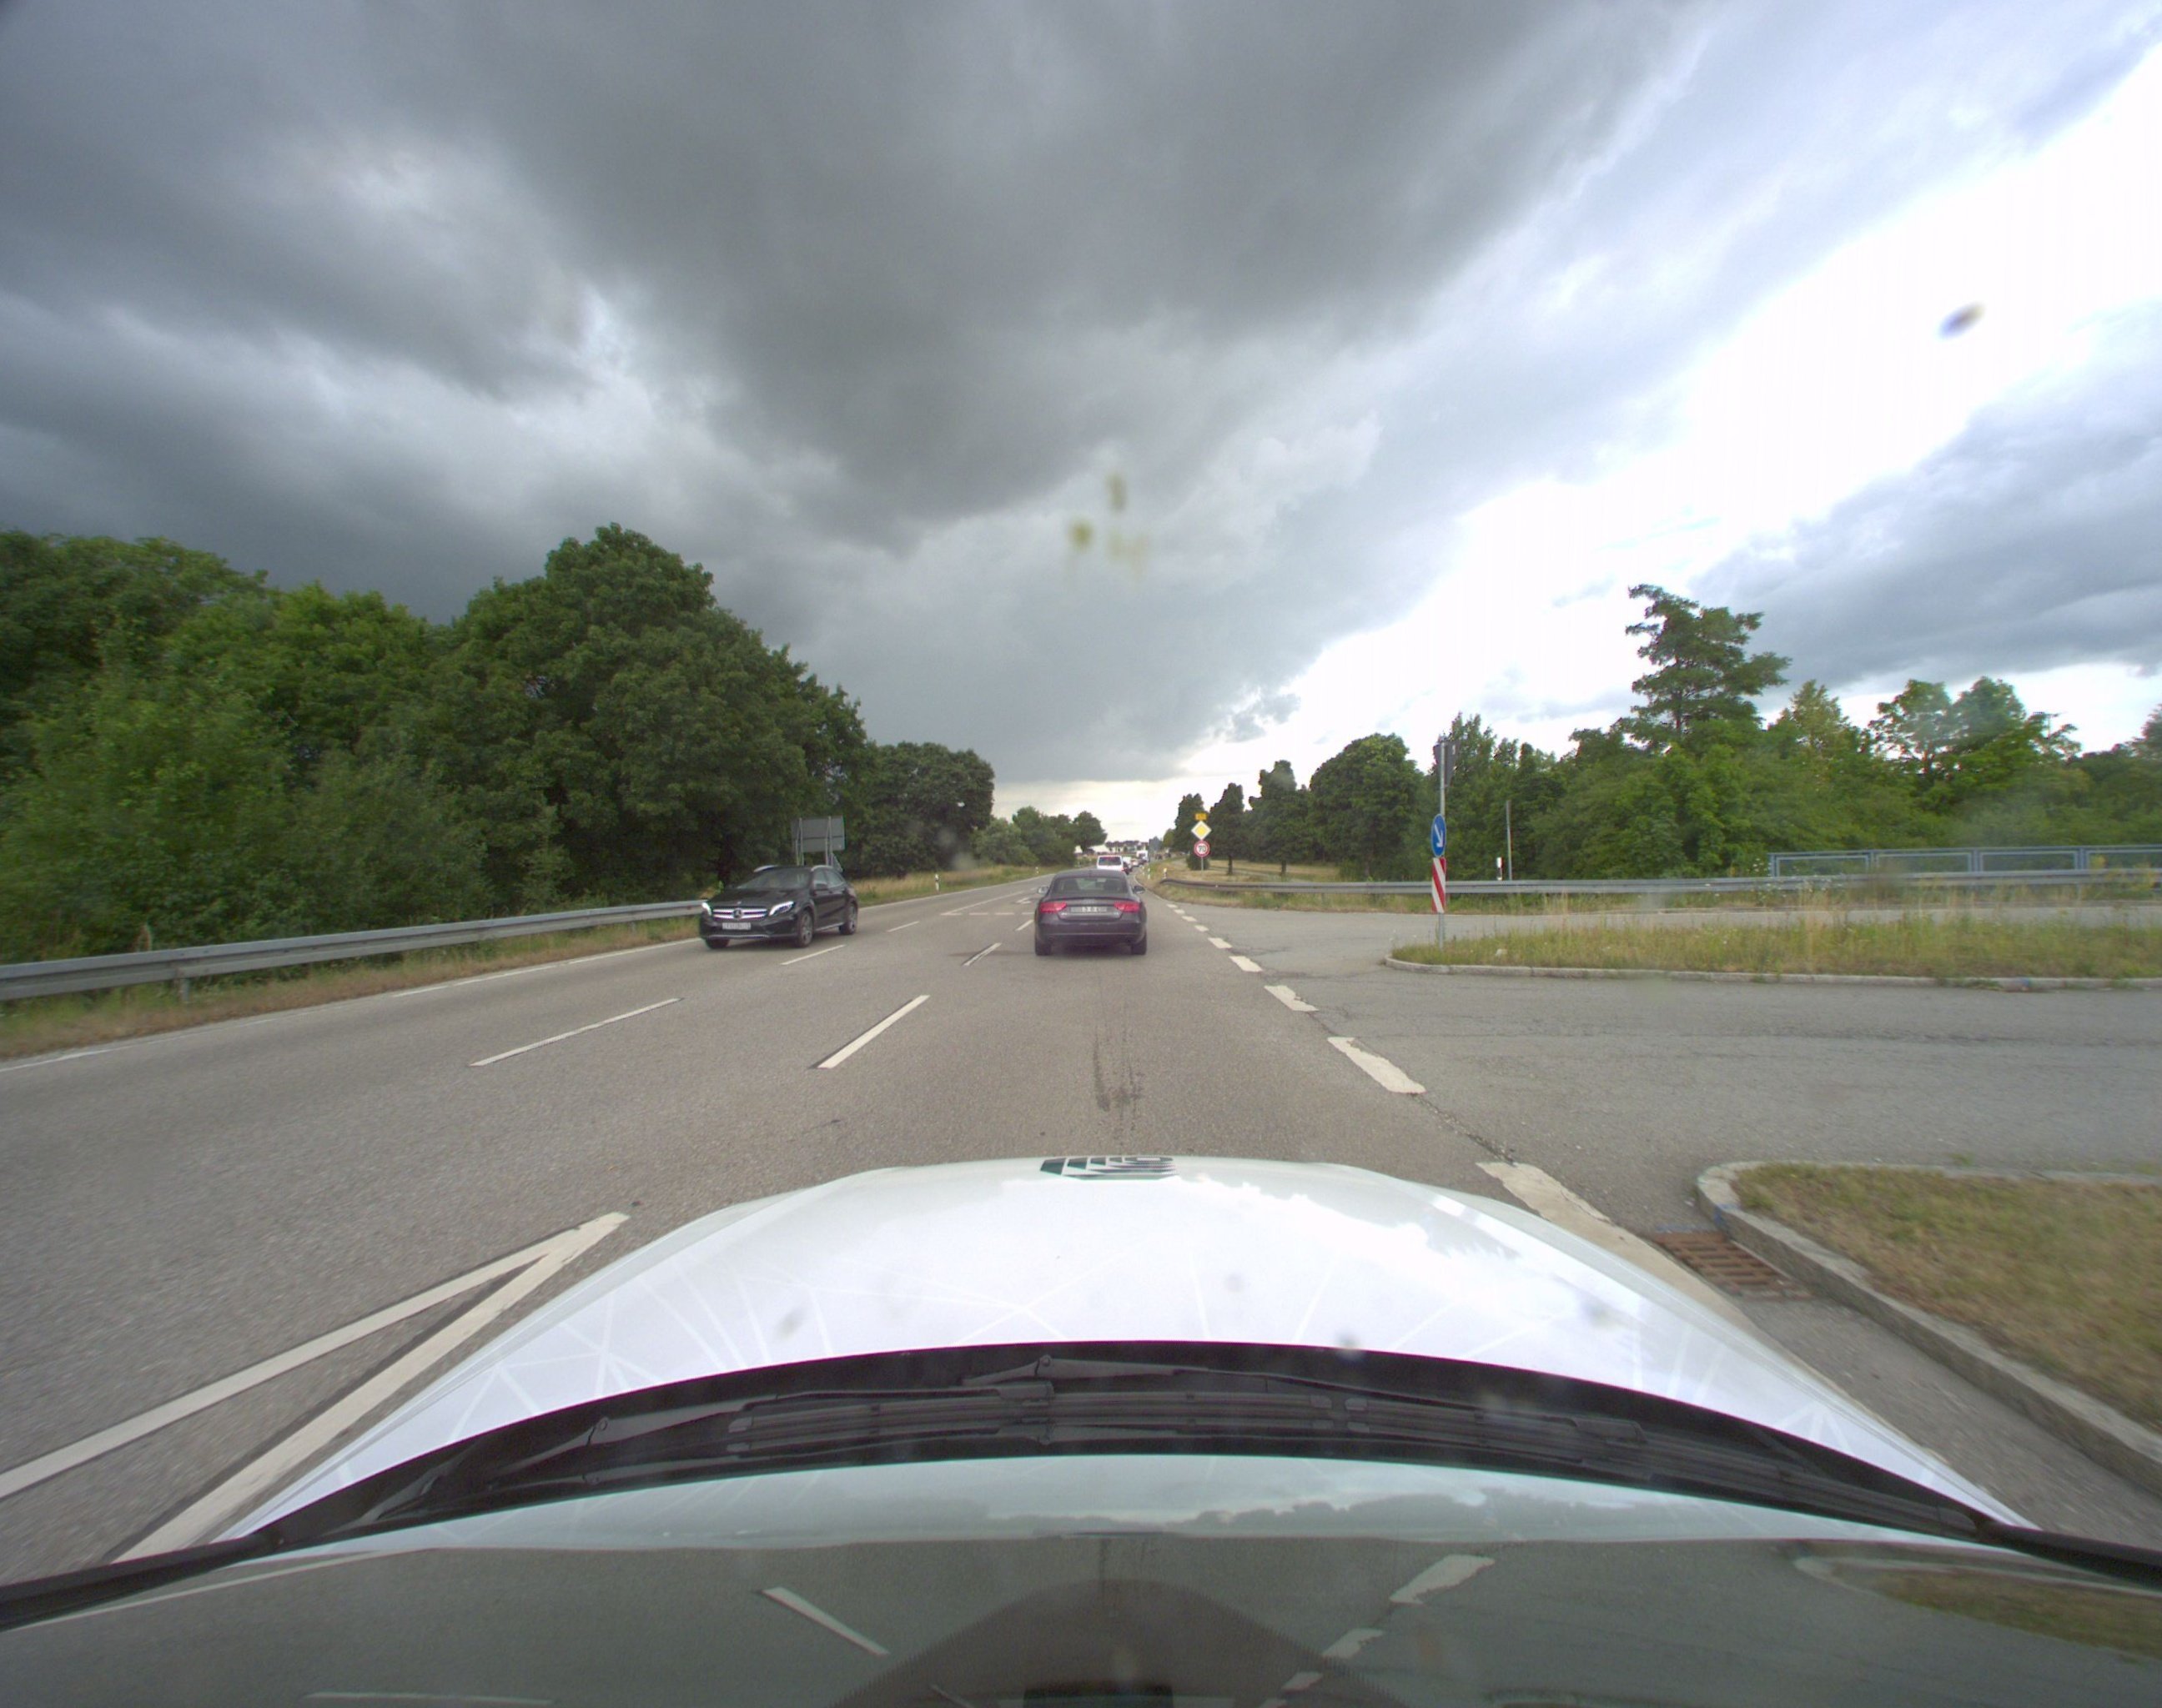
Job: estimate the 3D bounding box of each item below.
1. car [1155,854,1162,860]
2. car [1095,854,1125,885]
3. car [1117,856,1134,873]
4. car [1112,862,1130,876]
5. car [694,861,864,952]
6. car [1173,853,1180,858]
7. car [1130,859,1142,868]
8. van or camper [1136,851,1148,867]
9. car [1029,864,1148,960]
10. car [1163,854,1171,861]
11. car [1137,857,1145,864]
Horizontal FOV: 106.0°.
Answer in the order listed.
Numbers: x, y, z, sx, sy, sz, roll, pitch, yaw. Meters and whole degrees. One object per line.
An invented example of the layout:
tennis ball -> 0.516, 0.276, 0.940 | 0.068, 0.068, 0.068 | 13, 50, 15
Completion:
car -> 20.406, 0.736, 214.978 | 1.712, 1.451, 4.003 | 0, 0, 3
car -> 1.839, 0.976, 52.079 | 1.832, 1.882, 4.002 | 0, 0, 2
car -> 5.820, 1.343, 105.756 | 1.984, 2.088, 4.005 | -1, -1, 5
car -> 4.377, 1.685, 89.667 | 1.787, 1.464, 3.253 | -1, -1, 5
car -> -5.740, 0.924, 16.037 | 1.704, 1.523, 4.002 | -1, 0, 2
car -> 27.708, 0.395, 237.136 | 1.814, 1.596, 4.003 | 0, 0, 3
car -> 9.341, 1.553, 138.821 | 1.726, 1.514, 3.754 | -1, -1, 8
van or camper -> 12.976, 1.058, 173.314 | 2.330, 3.481, 5.724 | -1, -1, 4
car -> 0.175, 0.900, 14.264 | 1.776, 1.376, 4.002 | 0, 0, 2
car -> 25.400, 1.011, 240.252 | 1.986, 2.014, 4.001 | -1, -1, 1
car -> 11.458, 1.233, 154.728 | 1.251, 1.353, 3.473 | -1, -1, 8
